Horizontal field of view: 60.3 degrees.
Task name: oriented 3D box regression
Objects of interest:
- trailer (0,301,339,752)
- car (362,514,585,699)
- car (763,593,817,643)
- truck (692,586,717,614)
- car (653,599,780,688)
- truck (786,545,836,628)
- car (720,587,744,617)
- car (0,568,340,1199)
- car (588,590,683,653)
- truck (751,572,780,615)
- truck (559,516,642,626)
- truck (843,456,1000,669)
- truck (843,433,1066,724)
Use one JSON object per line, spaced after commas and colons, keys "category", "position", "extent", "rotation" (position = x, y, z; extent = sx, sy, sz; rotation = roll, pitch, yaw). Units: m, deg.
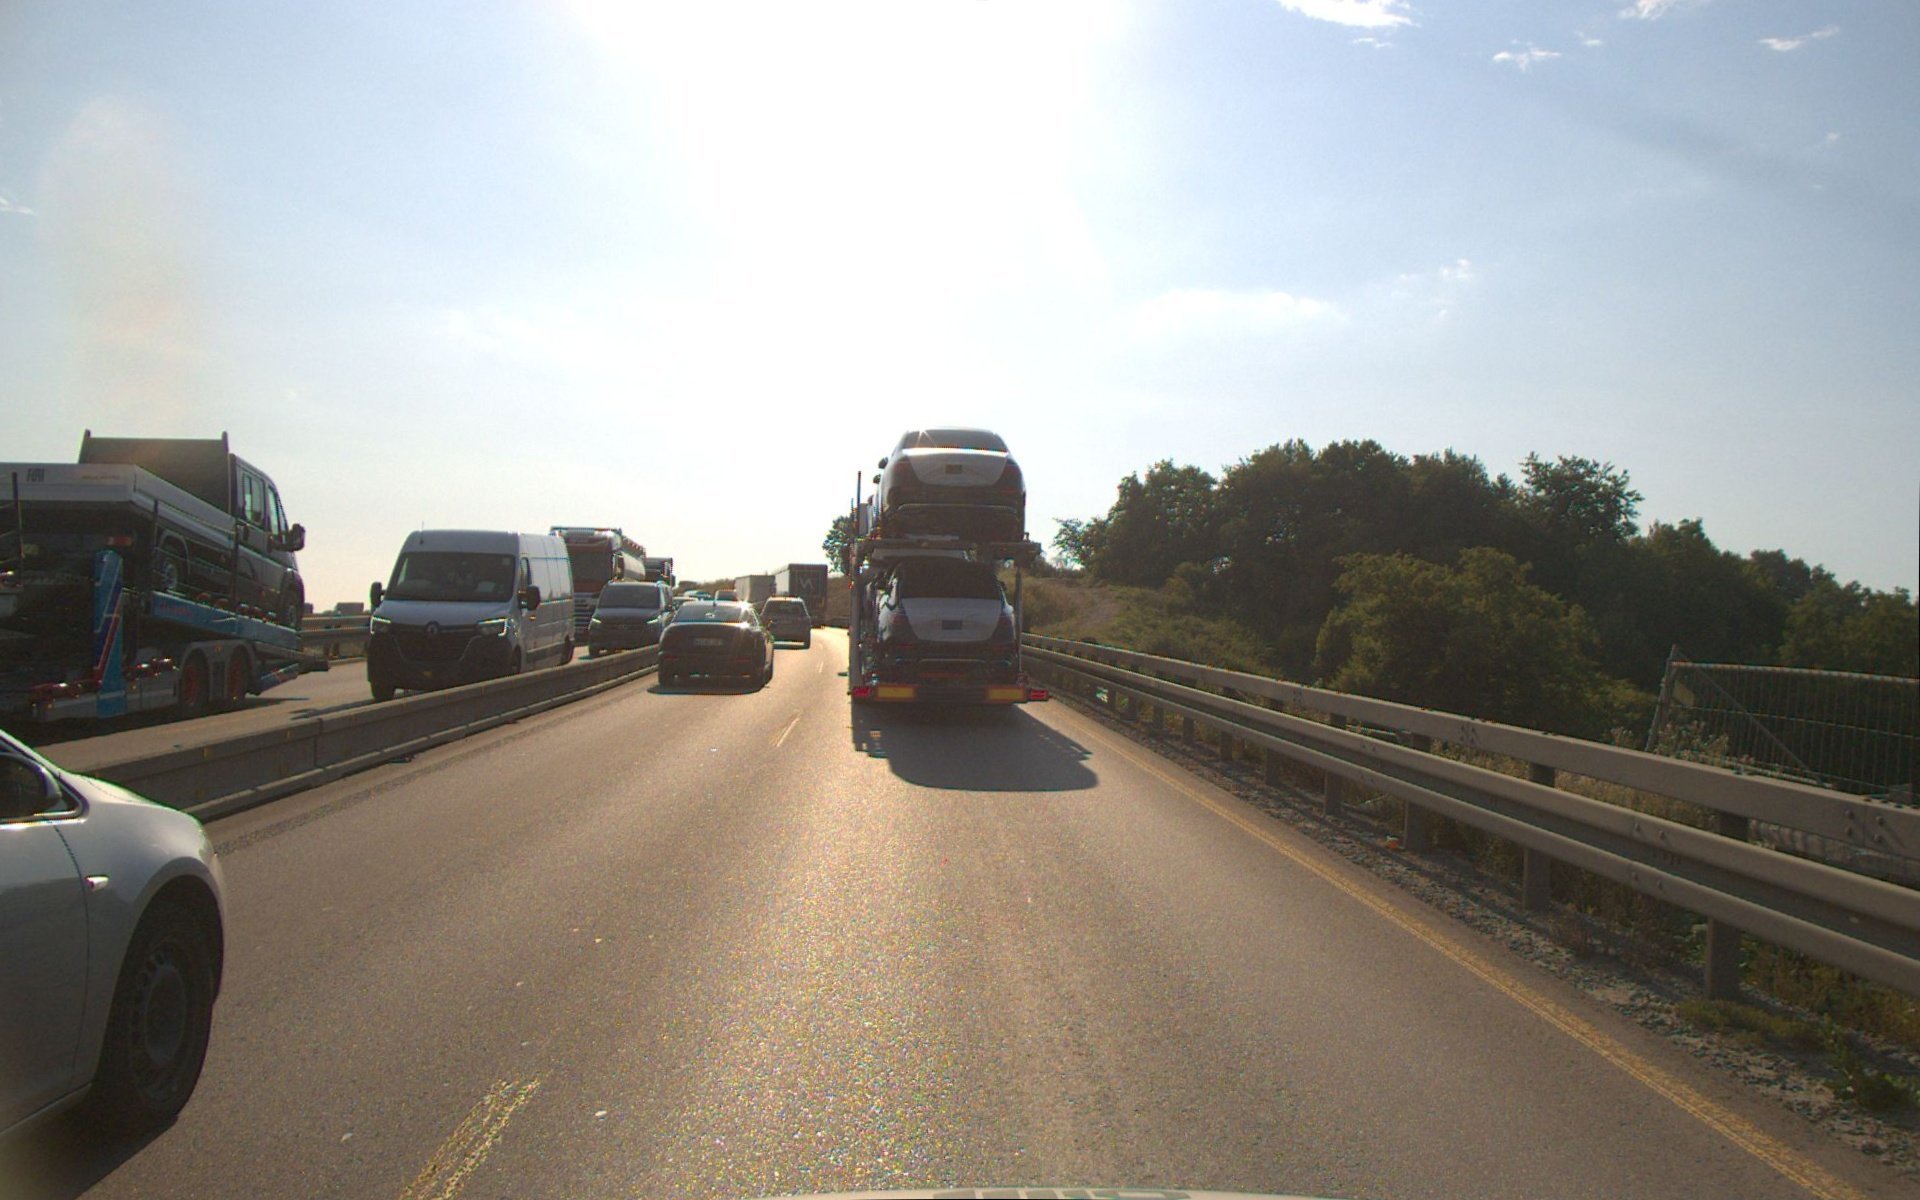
{"category": "trailer", "position": [-9.773, -0.645, 15.671], "extent": [2.641, 3.940, 15.383], "rotation": [0, 0, -3]}
{"category": "car", "position": [-7.329, 0.084, 25.631], "extent": [2.063, 2.525, 6.061], "rotation": [0, 0, -4]}
{"category": "car", "position": [-5.605, 0.571, 54.831], "extent": [1.658, 1.624, 3.996], "rotation": [0, 0, -5]}
{"category": "truck", "position": [-30.159, 0.033, 195.644], "extent": [2.540, 3.226, 6.669], "rotation": [0, 0, -6]}
{"category": "car", "position": [-4.344, 0.727, 30.177], "extent": [1.896, 1.423, 4.957], "rotation": [0, 1, -4]}
{"category": "truck", "position": [-10.156, -0.882, 112.093], "extent": [3.223, 5.328, 9.922], "rotation": [0, 0, -6]}
{"category": "car", "position": [-19.695, 0.165, 142.931], "extent": [1.884, 2.536, 5.401], "rotation": [0, 0, -6]}
{"category": "car", "position": [-2.913, 0.679, 3.345], "extent": [1.720, 1.498, 4.352], "rotation": [0, 0, -1]}
{"category": "car", "position": [-8.504, 0.540, 43.669], "extent": [1.843, 1.601, 4.189], "rotation": [0, 0, -3]}
{"category": "truck", "position": [-17.239, -0.575, 147.019], "extent": [2.482, 3.712, 8.893], "rotation": [0, 0, -6]}
{"category": "truck", "position": [-13.164, -0.975, 61.308], "extent": [2.270, 3.670, 11.947], "rotation": [0, 0, -9]}
{"category": "truck", "position": [-1.045, -0.680, 34.983], "extent": [2.782, 3.858, 9.977], "rotation": [0, 0, -5]}
{"category": "truck", "position": [-0.380, -0.268, 25.614], "extent": [2.743, 3.558, 10.597], "rotation": [0, 0, -4]}
